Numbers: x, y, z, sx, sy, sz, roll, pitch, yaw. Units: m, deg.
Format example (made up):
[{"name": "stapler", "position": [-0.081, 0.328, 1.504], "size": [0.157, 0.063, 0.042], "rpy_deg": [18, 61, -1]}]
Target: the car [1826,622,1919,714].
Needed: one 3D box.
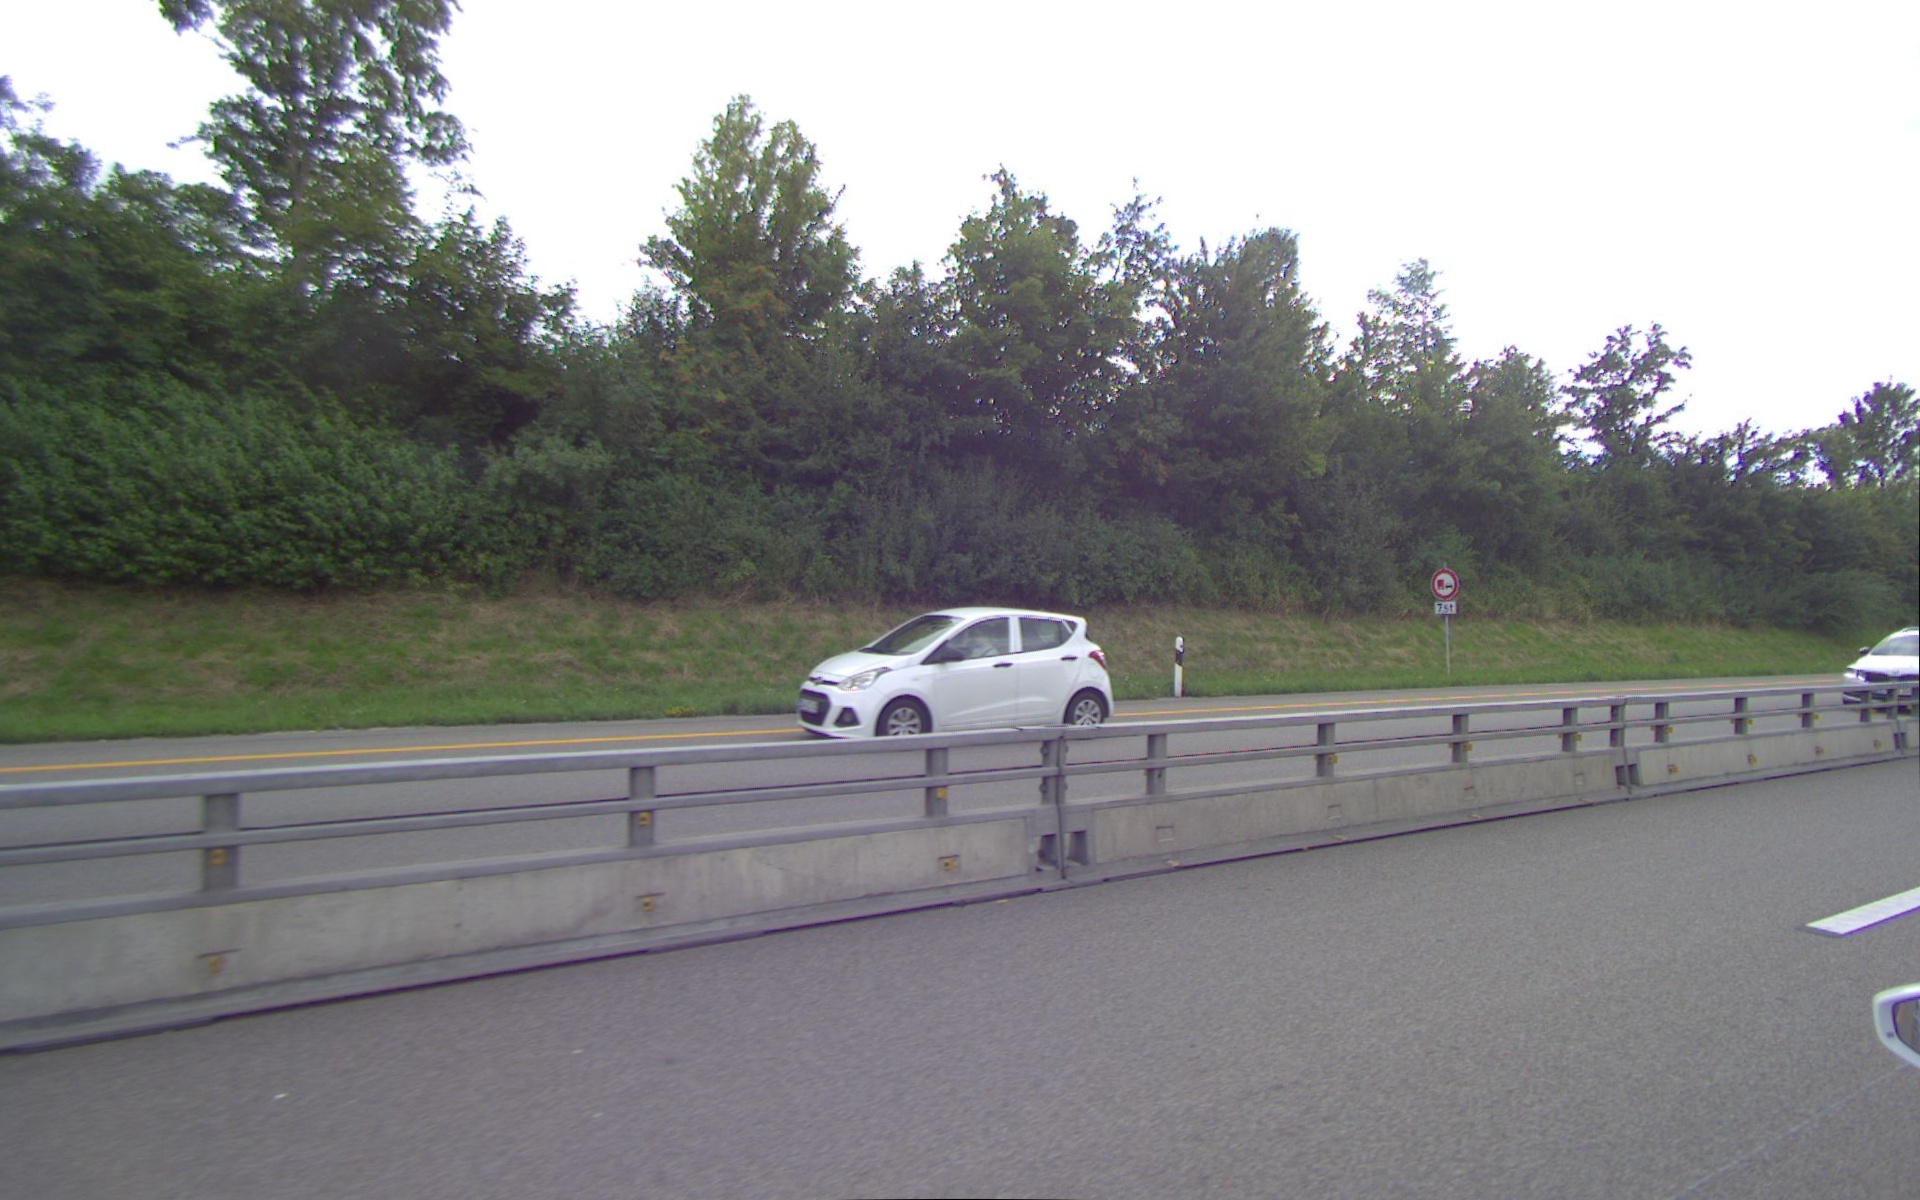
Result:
[{"name": "car", "position": [17.371, 1.162, 17.860], "size": [4.500, 1.473, 1.686], "rpy_deg": [1, 0, -31]}]

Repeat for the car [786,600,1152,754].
[{"name": "car", "position": [0.152, 0.798, 11.597], "size": [3.914, 1.473, 1.686], "rpy_deg": [1, 1, -31]}]
